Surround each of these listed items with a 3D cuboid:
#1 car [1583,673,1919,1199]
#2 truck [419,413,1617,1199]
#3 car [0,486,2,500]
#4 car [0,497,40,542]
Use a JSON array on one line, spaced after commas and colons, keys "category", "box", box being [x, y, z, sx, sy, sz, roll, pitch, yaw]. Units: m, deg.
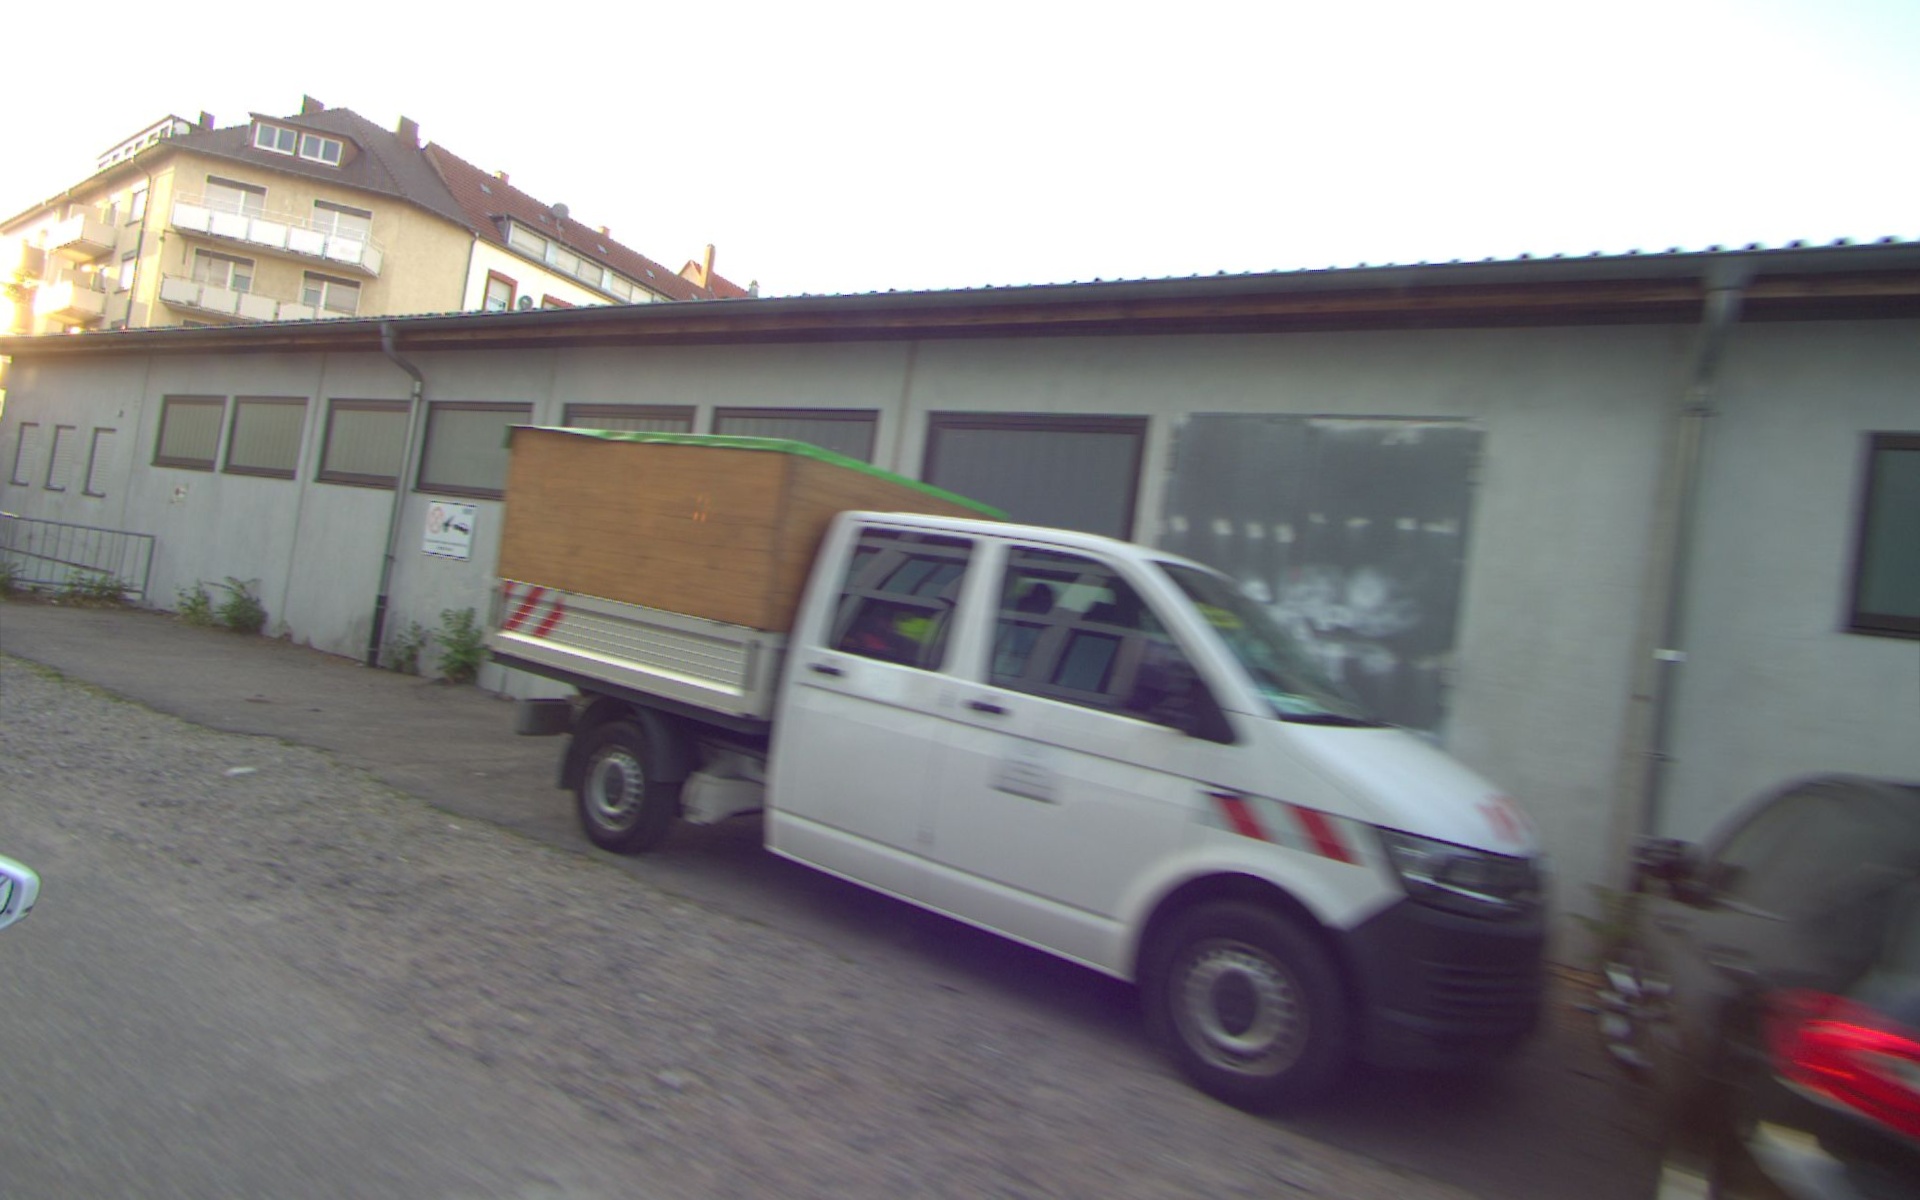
[{"category": "car", "box": [2.955, 1.258, 2.785, 1.860, 1.552, 3.770, 9, -3, 32]}, {"category": "truck", "box": [-0.099, 0.426, 5.226, 5.618, 2.225, 2.102, 7, -2, 33]}, {"category": "car", "box": [-40.544, -3.978, 39.194, 1.715, 1.881, 4.285, 7, -3, 36]}, {"category": "car", "box": [-37.523, -3.325, 37.868, 1.715, 1.508, 3.877, 7, -3, 36]}]
